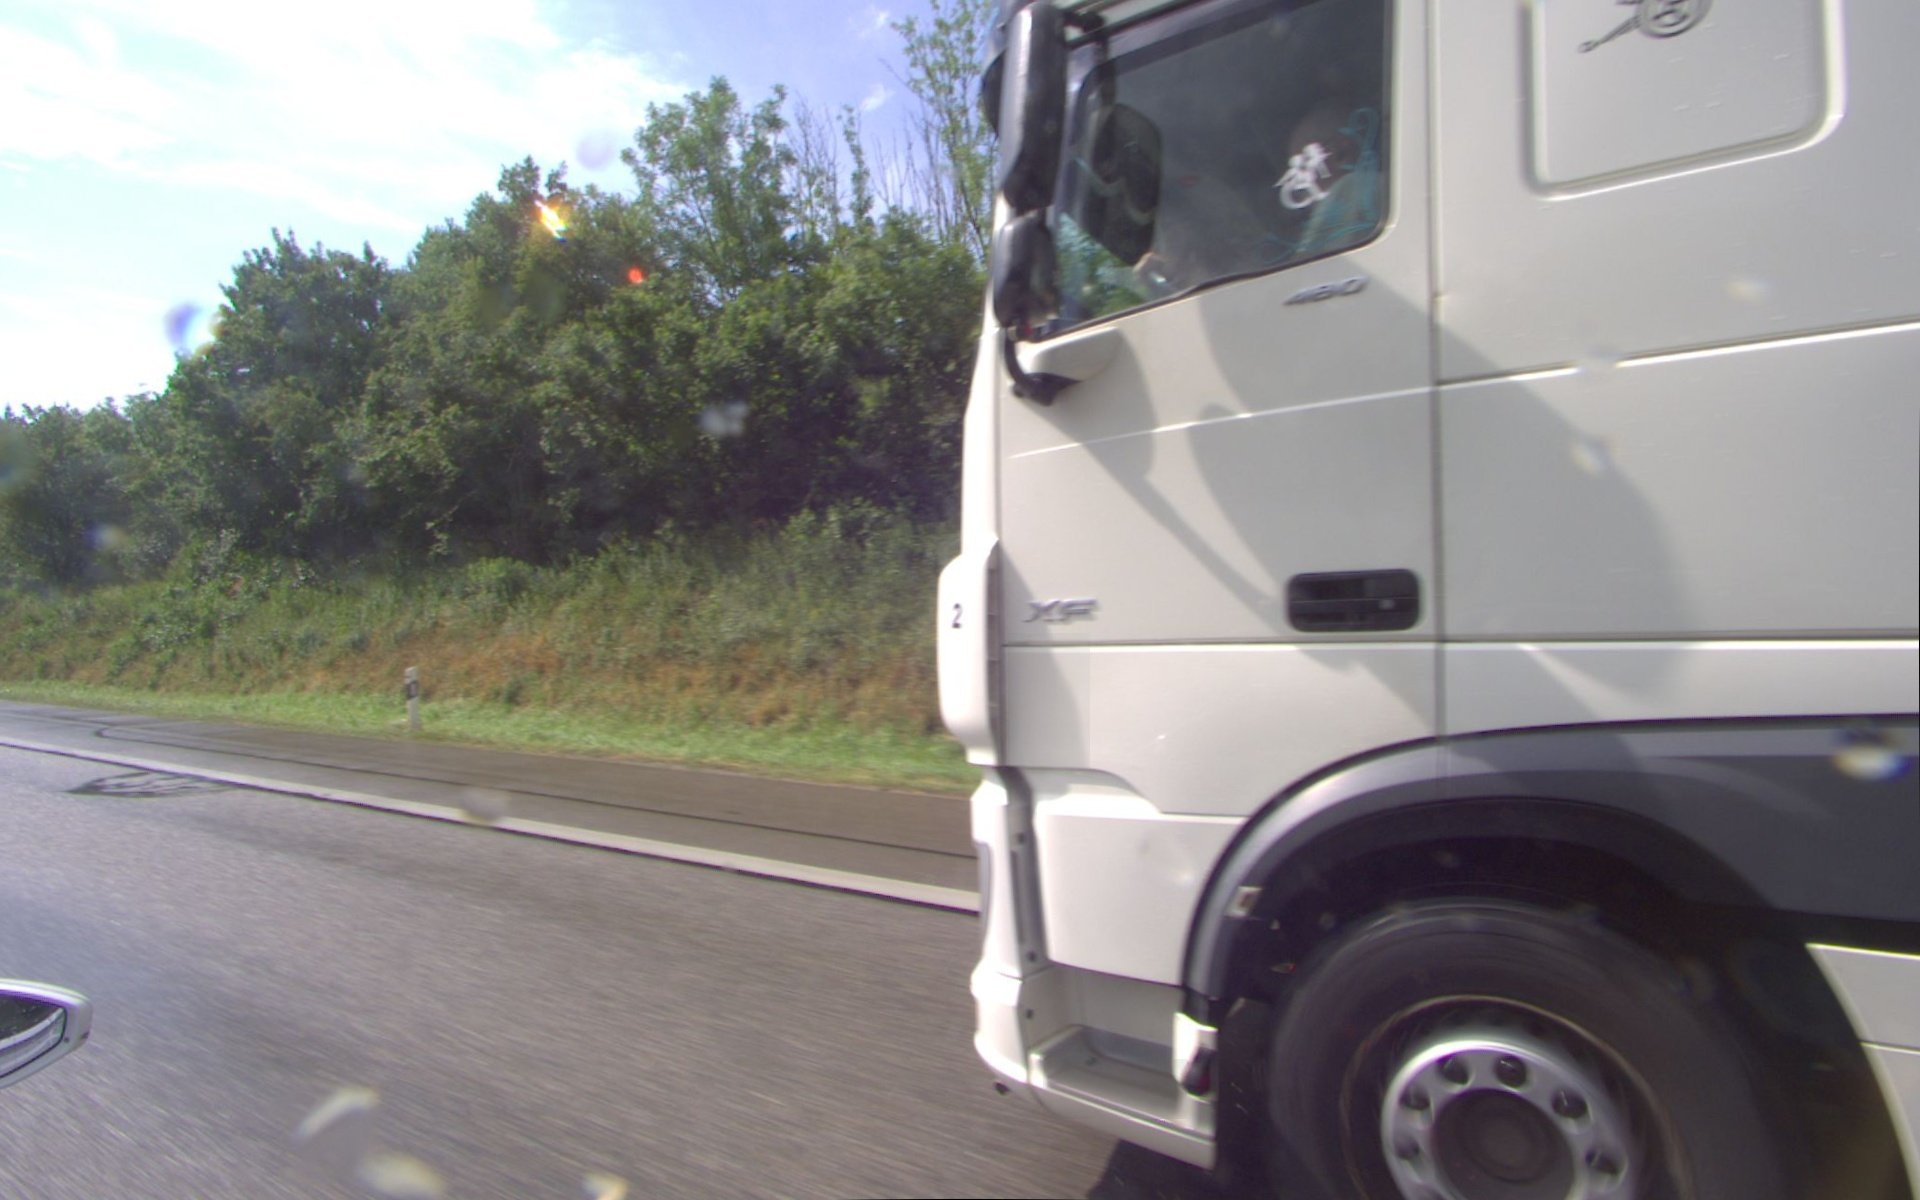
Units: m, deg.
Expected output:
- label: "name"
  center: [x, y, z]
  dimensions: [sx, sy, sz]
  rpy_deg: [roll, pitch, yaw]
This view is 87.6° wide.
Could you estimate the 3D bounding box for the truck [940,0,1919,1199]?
- label: "truck"
  center: [3.661, -0.540, 1.693]
  dimensions: [7.186, 4.047, 2.602]
  rpy_deg: [-1, -2, 32]
